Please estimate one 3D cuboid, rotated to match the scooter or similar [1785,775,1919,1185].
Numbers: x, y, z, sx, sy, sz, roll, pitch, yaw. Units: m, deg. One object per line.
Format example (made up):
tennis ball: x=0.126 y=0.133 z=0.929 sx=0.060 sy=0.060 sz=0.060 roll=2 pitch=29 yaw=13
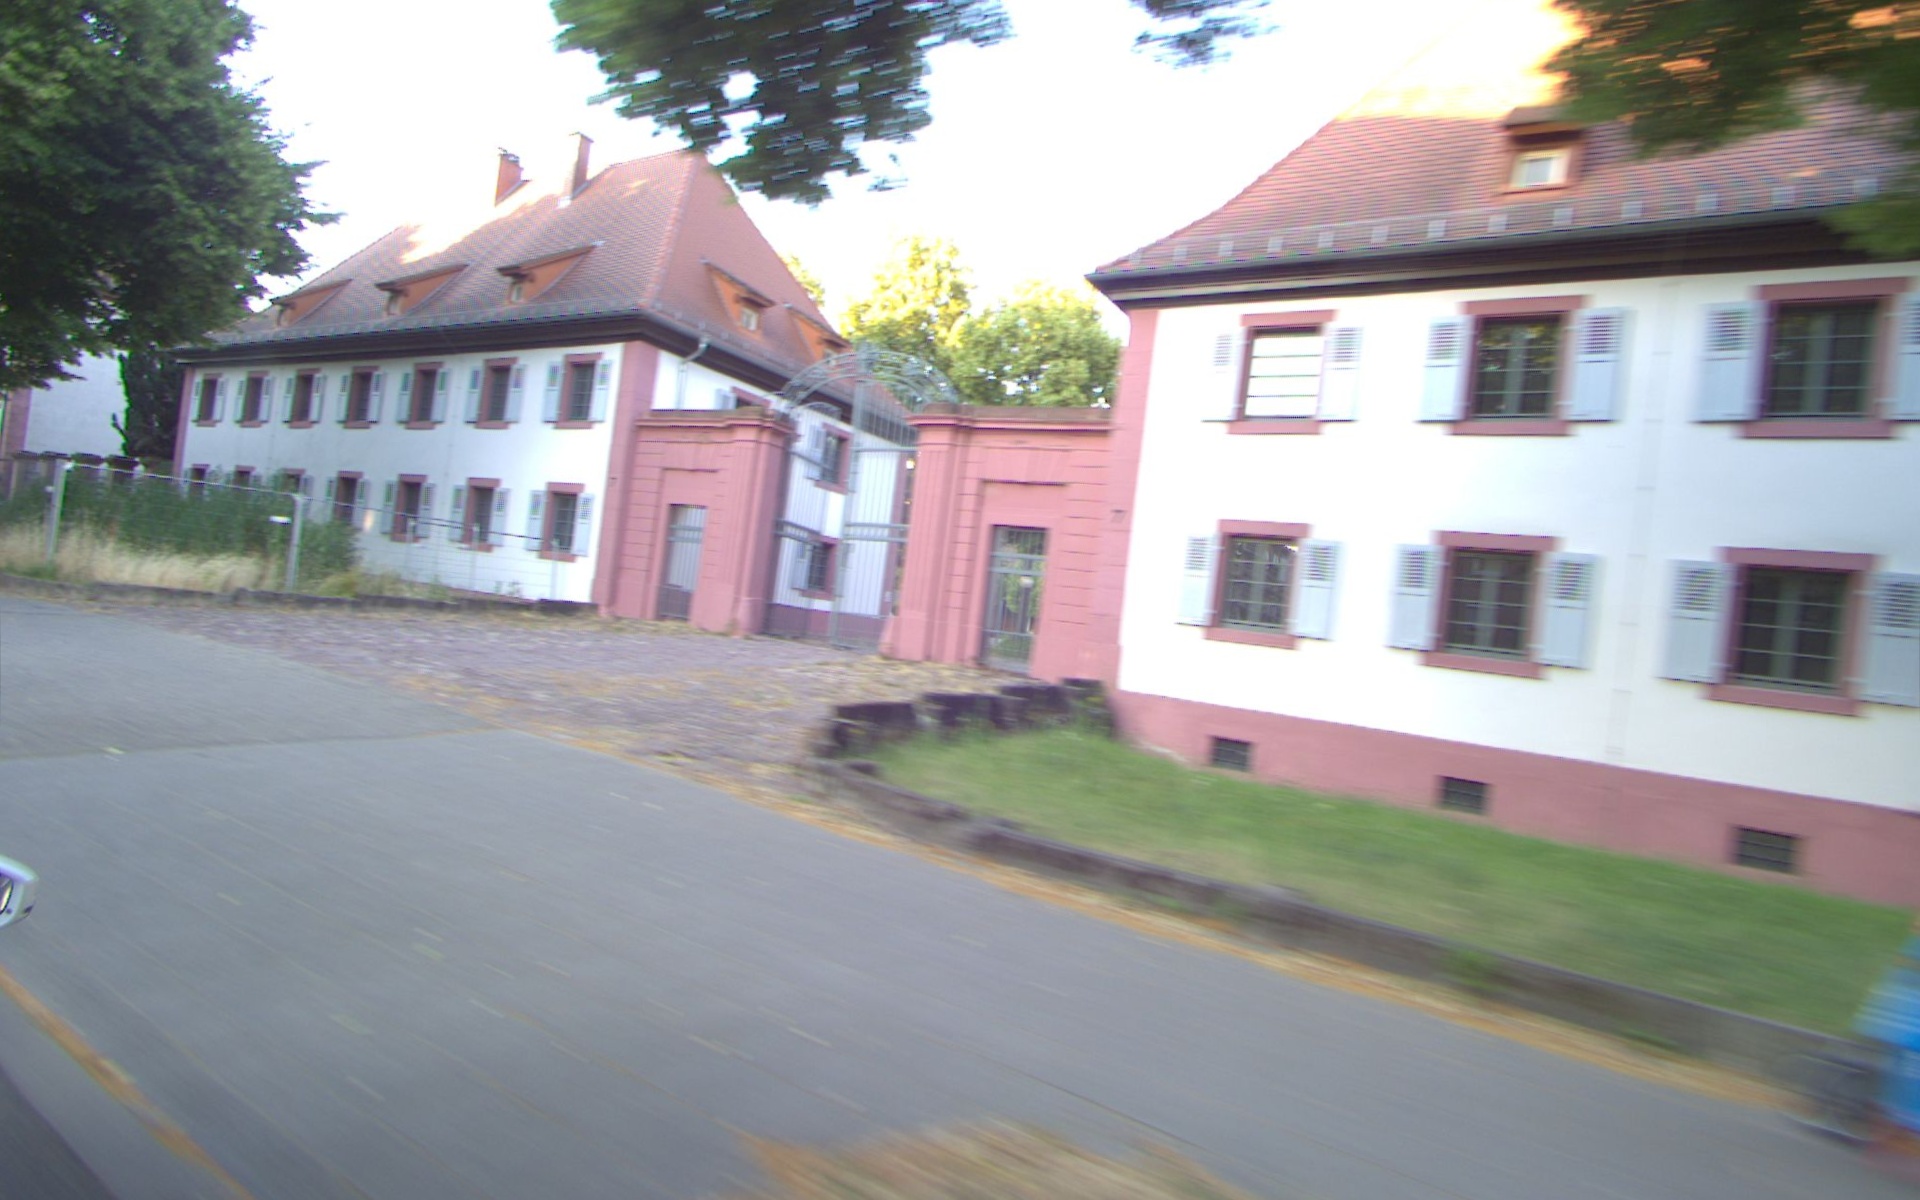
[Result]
scooter or similar: x=3.578 y=1.327 z=3.278 sx=1.245 sy=1.291 sz=0.239 roll=6 pitch=0 yaw=27
